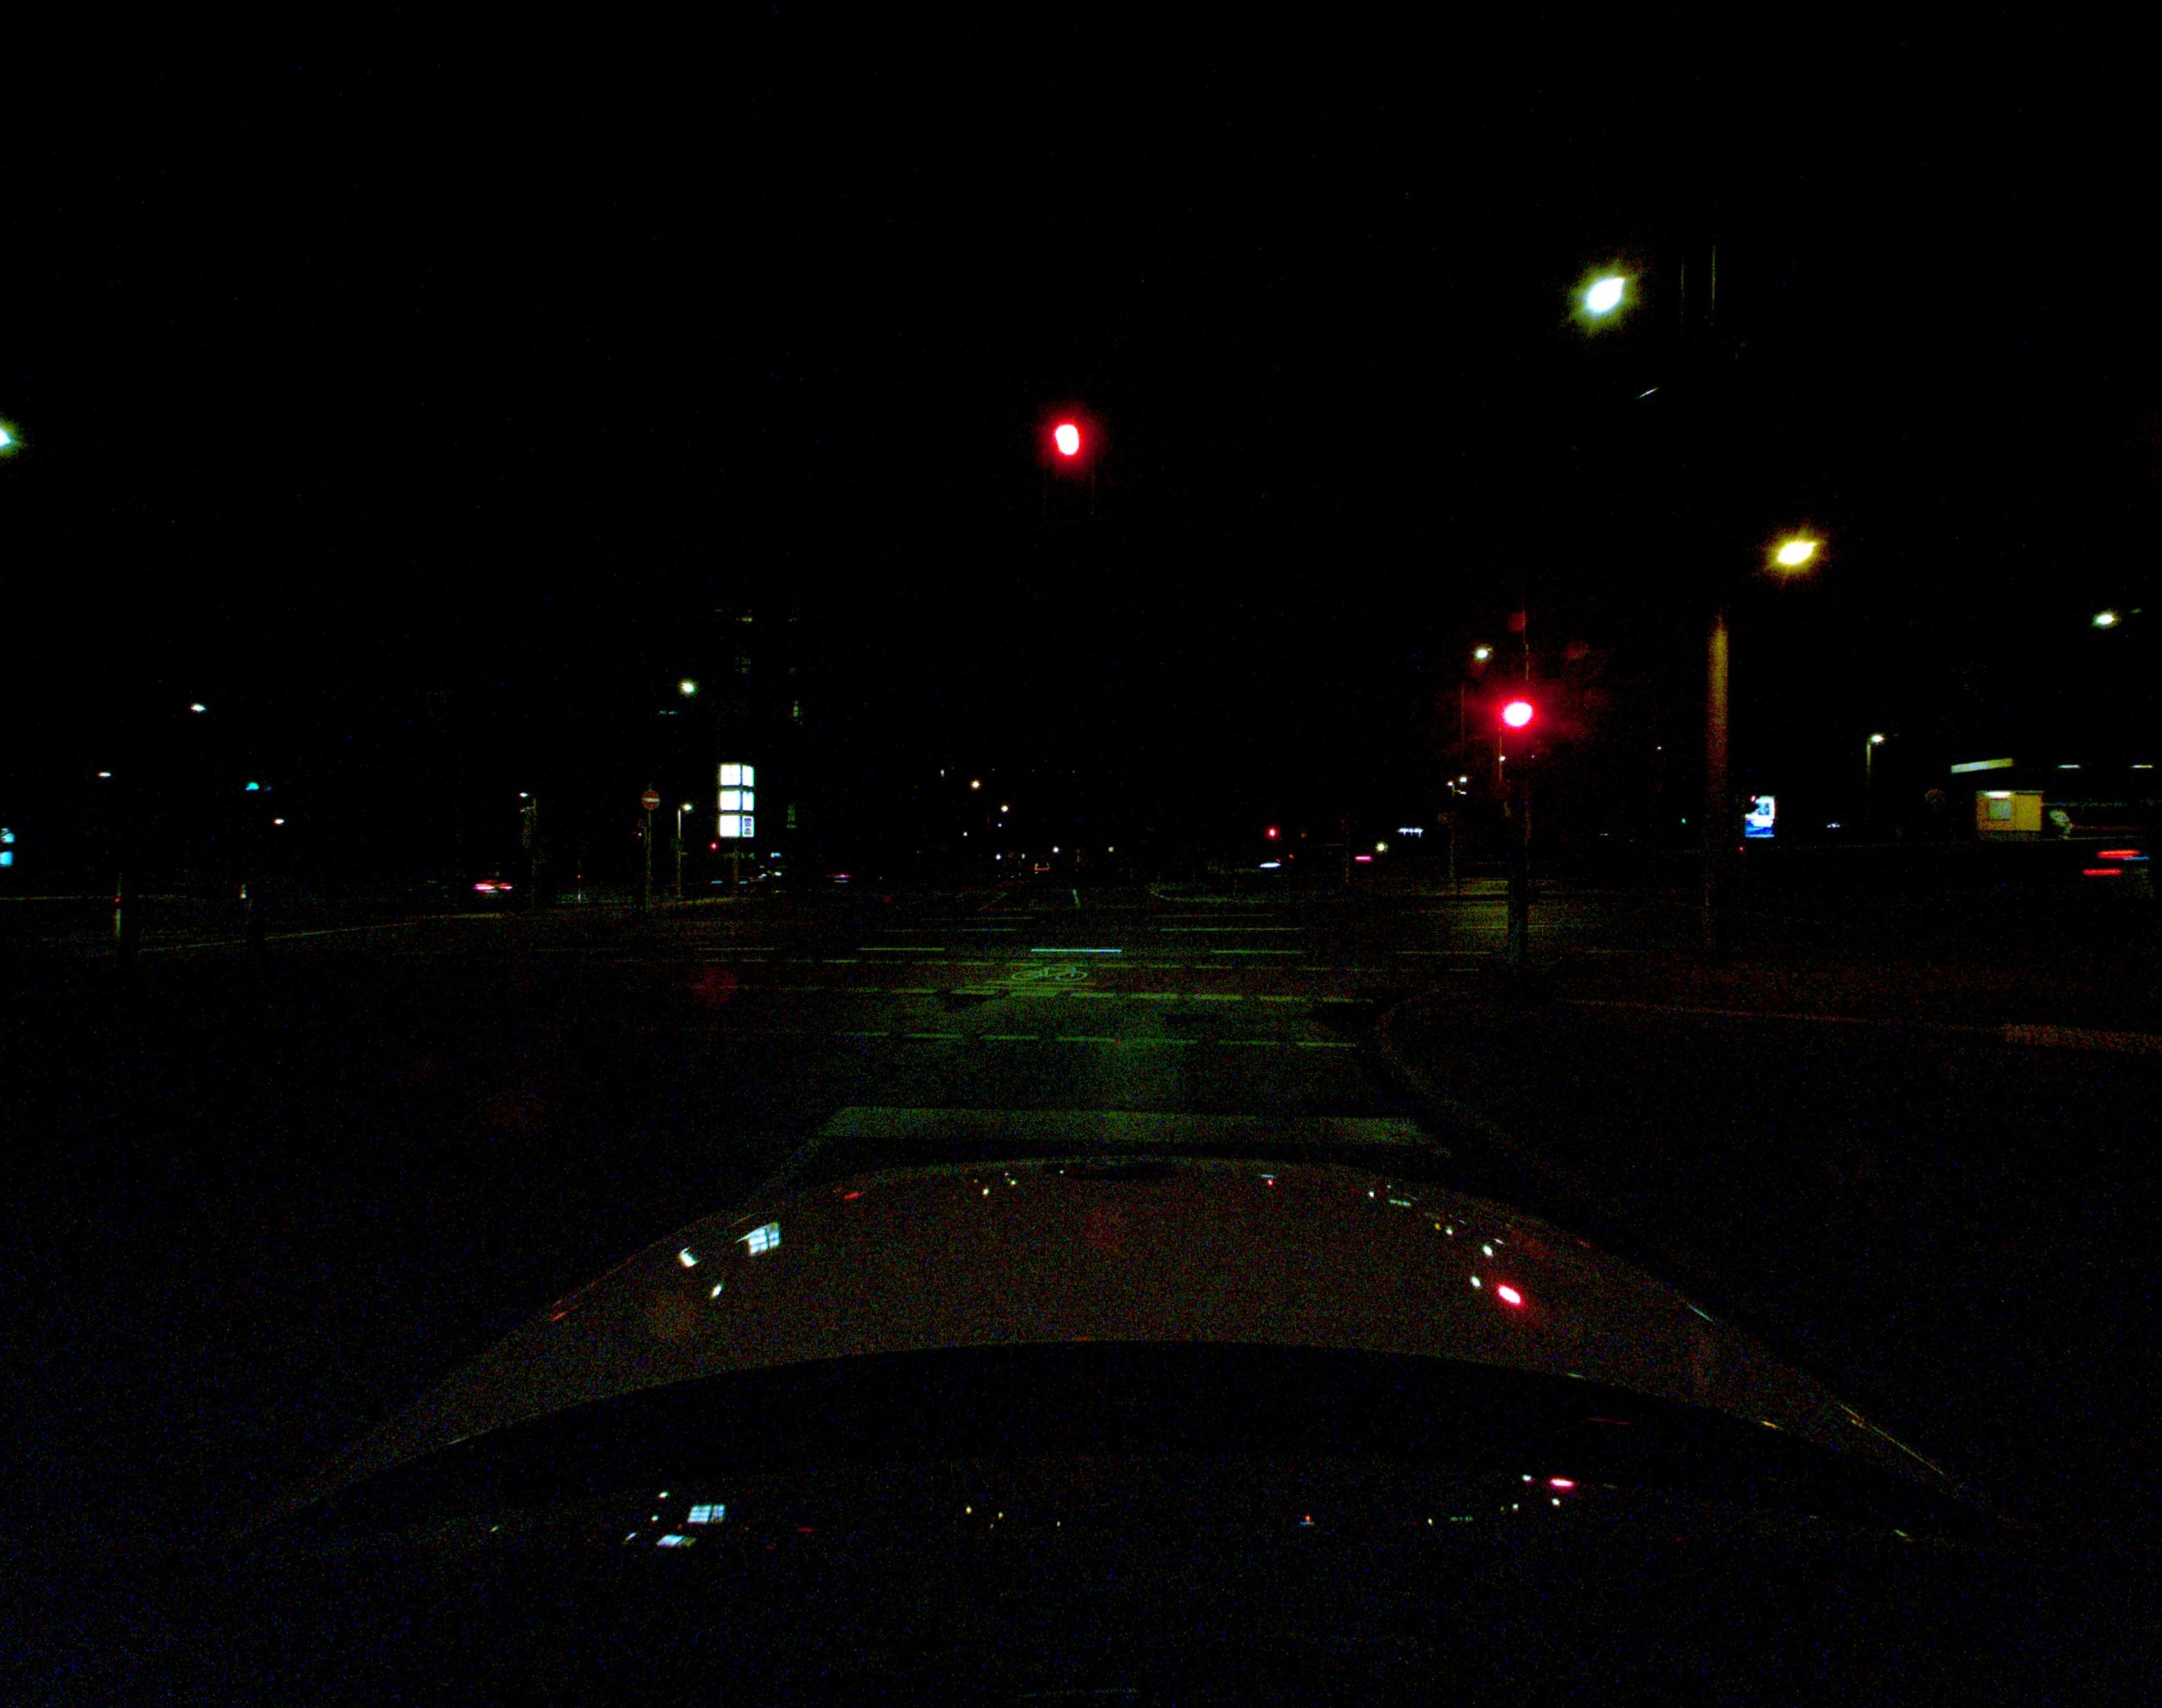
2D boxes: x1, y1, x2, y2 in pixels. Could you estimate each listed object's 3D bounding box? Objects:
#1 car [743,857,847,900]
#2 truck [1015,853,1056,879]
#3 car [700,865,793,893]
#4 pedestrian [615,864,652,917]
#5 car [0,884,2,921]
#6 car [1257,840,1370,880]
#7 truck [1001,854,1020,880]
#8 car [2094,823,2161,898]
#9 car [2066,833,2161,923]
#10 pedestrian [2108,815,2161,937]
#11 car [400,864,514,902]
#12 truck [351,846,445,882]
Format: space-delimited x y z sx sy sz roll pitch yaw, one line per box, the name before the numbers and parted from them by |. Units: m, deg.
car | -13.543 1.149 38.688 4.163 1.975 2.002 0 -1 4
truck | -8.554 2.215 151.647 4.835 4.547 12.591 0 -1 -17
car | -17.277 1.267 42.209 3.971 1.387 1.866 0 -1 2
pedestrian | -13.937 1.120 25.402 0.667 1.634 0.862 0 -1 -3
car | -61.312 2.660 43.883 3.966 2.014 2.004 0 -1 6
car | 10.397 0.282 36.661 4.595 1.728 2.003 0 -1 5
truck | -10.444 1.951 119.714 2.580 3.707 5.723 0 -1 -7
car | 25.398 0.104 17.608 4.489 1.564 1.816 -1 2 4
car | 20.705 0.374 14.634 3.812 1.506 1.689 -2 1 4
pedestrian | 15.798 0.301 11.737 0.752 1.745 0.834 -3 -3 1
car | -30.599 1.403 40.001 4.137 1.813 1.843 0 -1 1
truck | -59.697 0.870 71.269 5.873 3.088 2.915 0 -1 3
